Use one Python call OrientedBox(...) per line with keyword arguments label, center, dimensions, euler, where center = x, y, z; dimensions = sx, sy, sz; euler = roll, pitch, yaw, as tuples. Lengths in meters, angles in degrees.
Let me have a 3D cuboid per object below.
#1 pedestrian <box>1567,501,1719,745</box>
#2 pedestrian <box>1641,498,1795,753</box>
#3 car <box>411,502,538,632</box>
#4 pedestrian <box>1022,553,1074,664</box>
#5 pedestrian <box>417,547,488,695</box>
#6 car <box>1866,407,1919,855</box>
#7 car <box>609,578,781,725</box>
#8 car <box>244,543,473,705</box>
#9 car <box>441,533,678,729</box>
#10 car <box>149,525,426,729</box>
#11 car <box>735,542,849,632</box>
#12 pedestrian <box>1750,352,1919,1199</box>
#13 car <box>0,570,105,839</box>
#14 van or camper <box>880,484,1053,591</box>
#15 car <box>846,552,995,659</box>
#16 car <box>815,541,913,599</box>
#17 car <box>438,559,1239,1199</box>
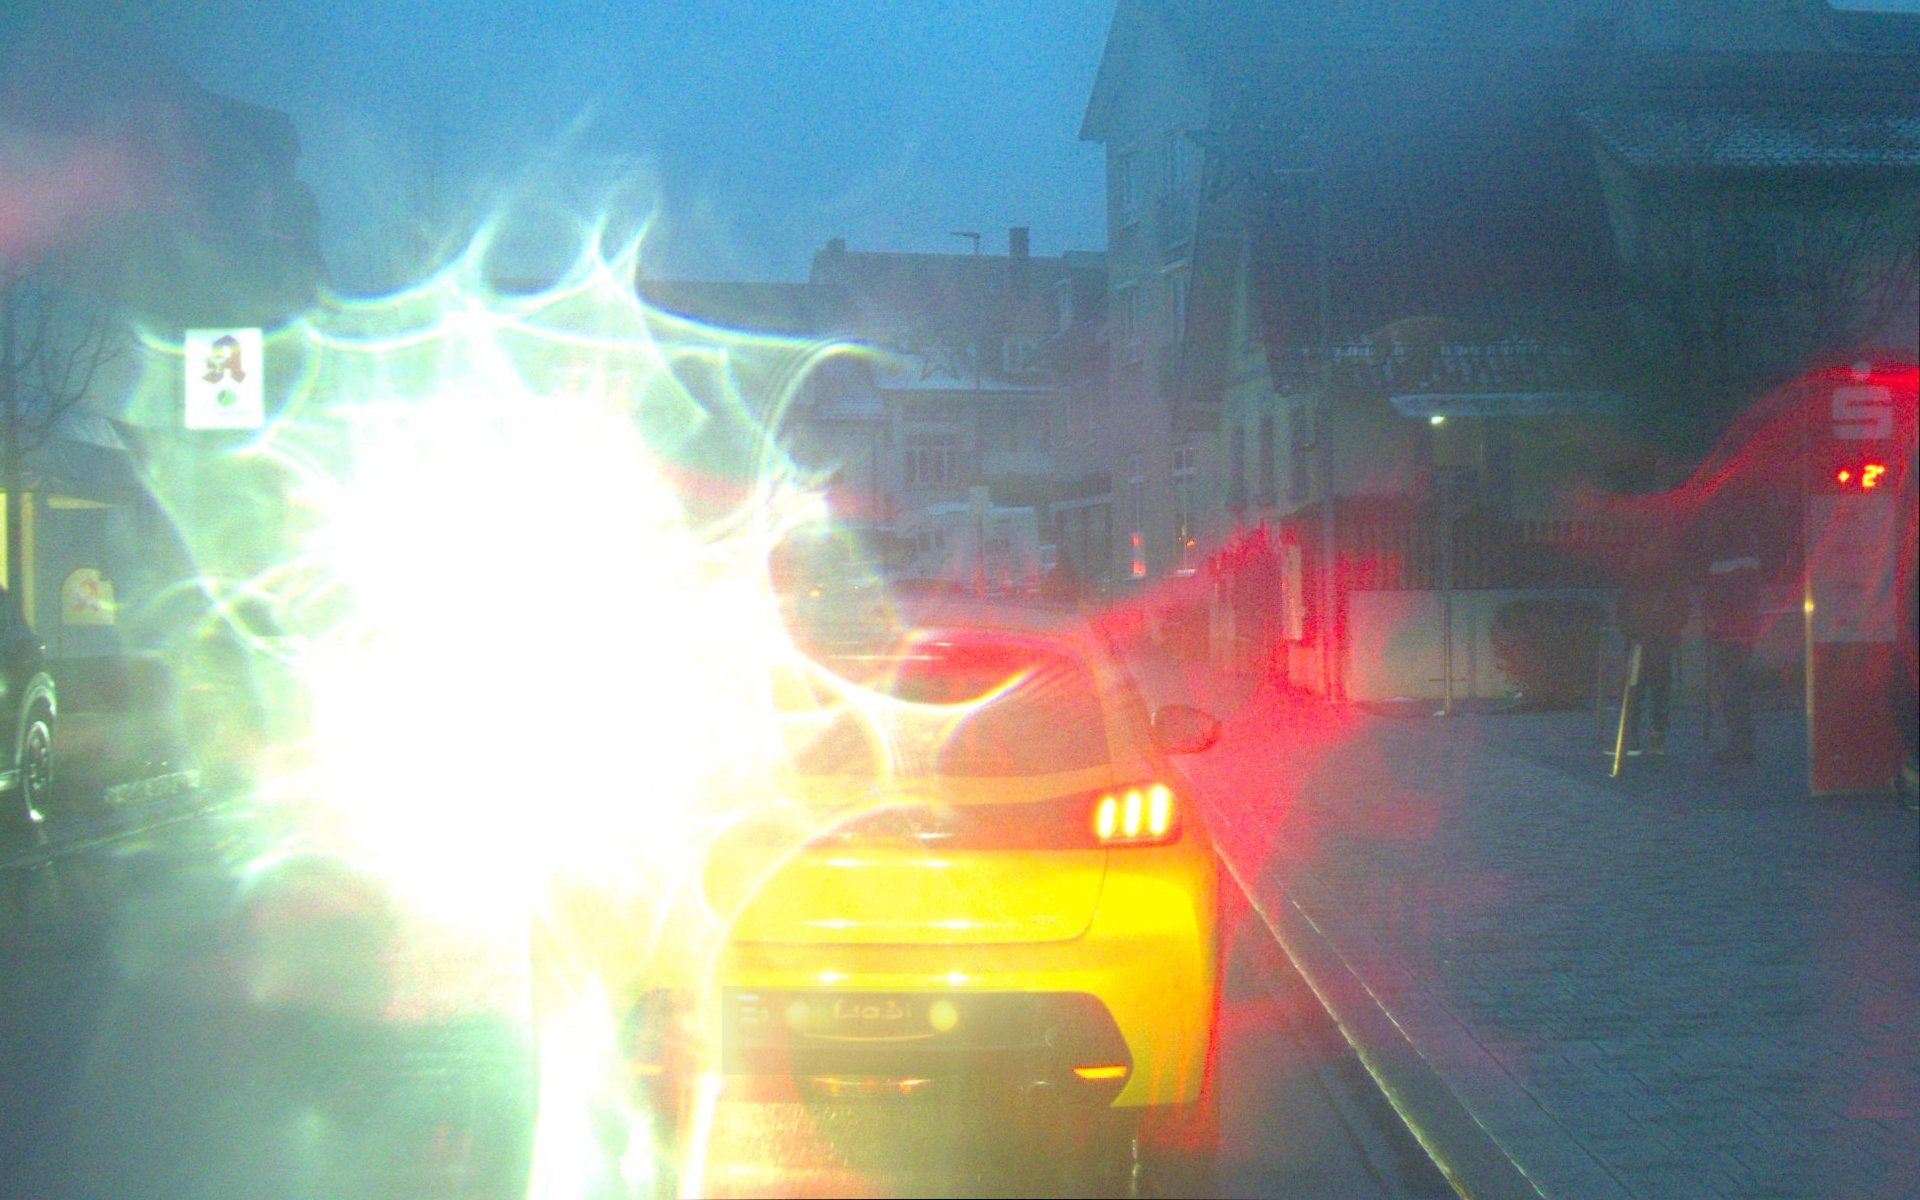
OrientedBox(label="pedestrian", center=(4.897, 0.160, 24.622), dimensions=(0.843, 1.699, 0.838), euler=(-2, 0, 24))
OrientedBox(label="pedestrian", center=(5.209, 0.170, 23.657), dimensions=(0.703, 1.699, 0.915), euler=(-2, 0, -8))
OrientedBox(label="car", center=(-10.139, -0.651, 71.808), dimensions=(2.485, 2.551, 6.763), euler=(1, 0, -8))
OrientedBox(label="pedestrian", center=(1.401, 0.129, 54.804), dimensions=(0.745, 1.723, 0.873), euler=(-1, 2, -4))
OrientedBox(label="pedestrian", center=(-5.485, 0.223, 37.162), dimensions=(0.574, 1.580, 0.529), euler=(0, 2, 15))
OrientedBox(label="car", center=(6.434, 0.066, 15.799), dimensions=(4.092, 2.042, 1.999), euler=(-2, 0, 7))
OrientedBox(label="car", center=(-3.528, 0.626, 45.152), dimensions=(1.951, 1.541, 4.417), euler=(-2, 3, -8))
OrientedBox(label="car", center=(-6.707, 0.237, 38.776), dimensions=(1.880, 1.704, 4.712), euler=(1, 0, -2))
OrientedBox(label="car", center=(-3.920, 0.243, 34.412), dimensions=(1.993, 1.700, 4.968), euler=(2, 2, -3))
OrientedBox(label="car", center=(-6.275, 0.192, 32.596), dimensions=(2.085, 1.786, 5.025), euler=(0, 1, -5))
OrientedBox(label="car", center=(-3.640, -0.286, 73.867), dimensions=(1.993, 1.851, 4.001), euler=(1, 0, -9))
OrientedBox(label="pedestrian", center=(2.375, 0.418, 7.472), dimensions=(0.966, 1.883, 1.006), euler=(-2, 0, -4))
OrientedBox(label="car", center=(-6.415, 0.594, 19.410), dimensions=(1.993, 1.517, 4.978), euler=(0, 0, -1))
OrientedBox(label="van or camper", center=(0.145, -1.887, 105.493), dimensions=(2.650, 3.037, 6.736), euler=(-4, 2, -24))
OrientedBox(label="car", center=(-0.649, 0.066, 53.384), dimensions=(1.993, 1.583, 4.001), euler=(1, 0, -5))
OrientedBox(label="car", center=(-2.940, -0.894, 104.677), dimensions=(1.993, 1.605, 4.175), euler=(-3, 0, -15))
OrientedBox(label="car", center=(-0.375, 0.664, 9.854), dimensions=(1.814, 1.528, 4.000), euler=(1, 0, -3))
